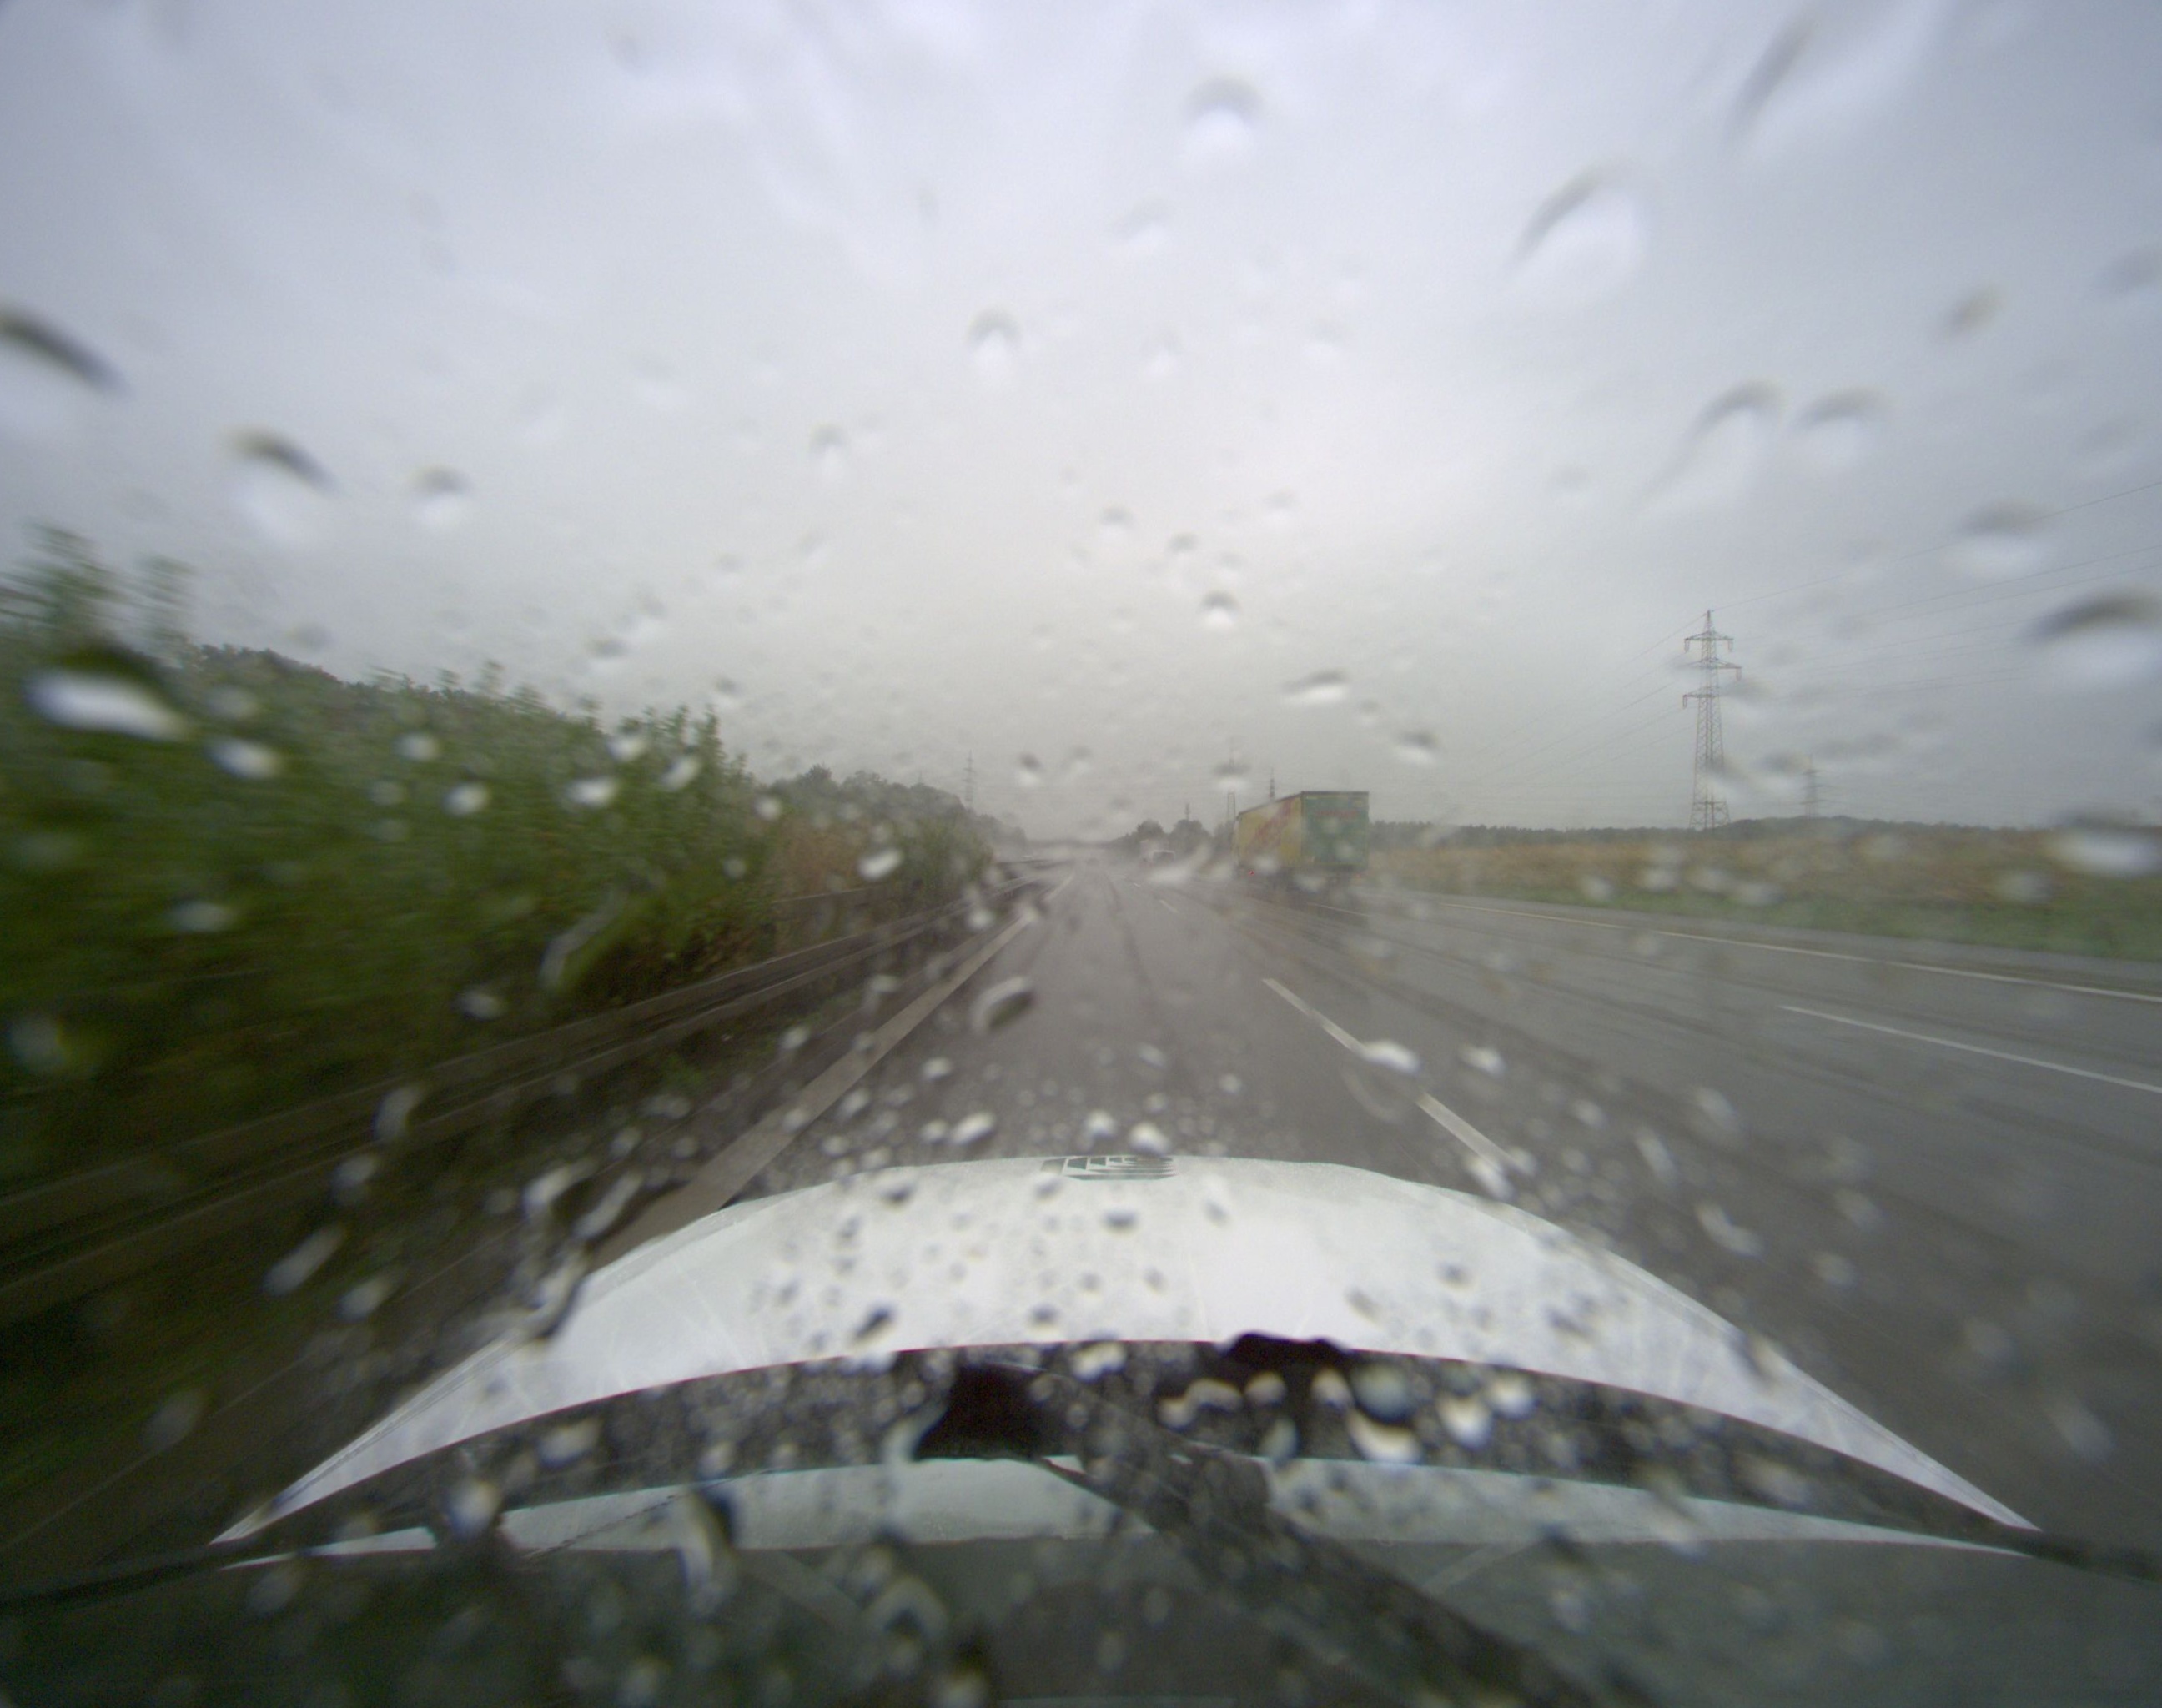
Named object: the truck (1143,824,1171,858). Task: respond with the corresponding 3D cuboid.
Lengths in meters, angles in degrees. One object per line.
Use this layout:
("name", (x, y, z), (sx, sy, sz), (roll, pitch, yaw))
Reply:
("truck", (9.904, -1.691, 107.249), (3.220, 4.311, 8.842), (-1, 1, 2))

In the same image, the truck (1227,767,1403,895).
("truck", (10.062, -0.847, 38.045), (4.173, 4.630, 16.114), (-1, 0, 2))

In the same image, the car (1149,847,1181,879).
("car", (5.682, 0.548, 54.441), (1.983, 2.013, 4.009), (-1, 1, 7))
